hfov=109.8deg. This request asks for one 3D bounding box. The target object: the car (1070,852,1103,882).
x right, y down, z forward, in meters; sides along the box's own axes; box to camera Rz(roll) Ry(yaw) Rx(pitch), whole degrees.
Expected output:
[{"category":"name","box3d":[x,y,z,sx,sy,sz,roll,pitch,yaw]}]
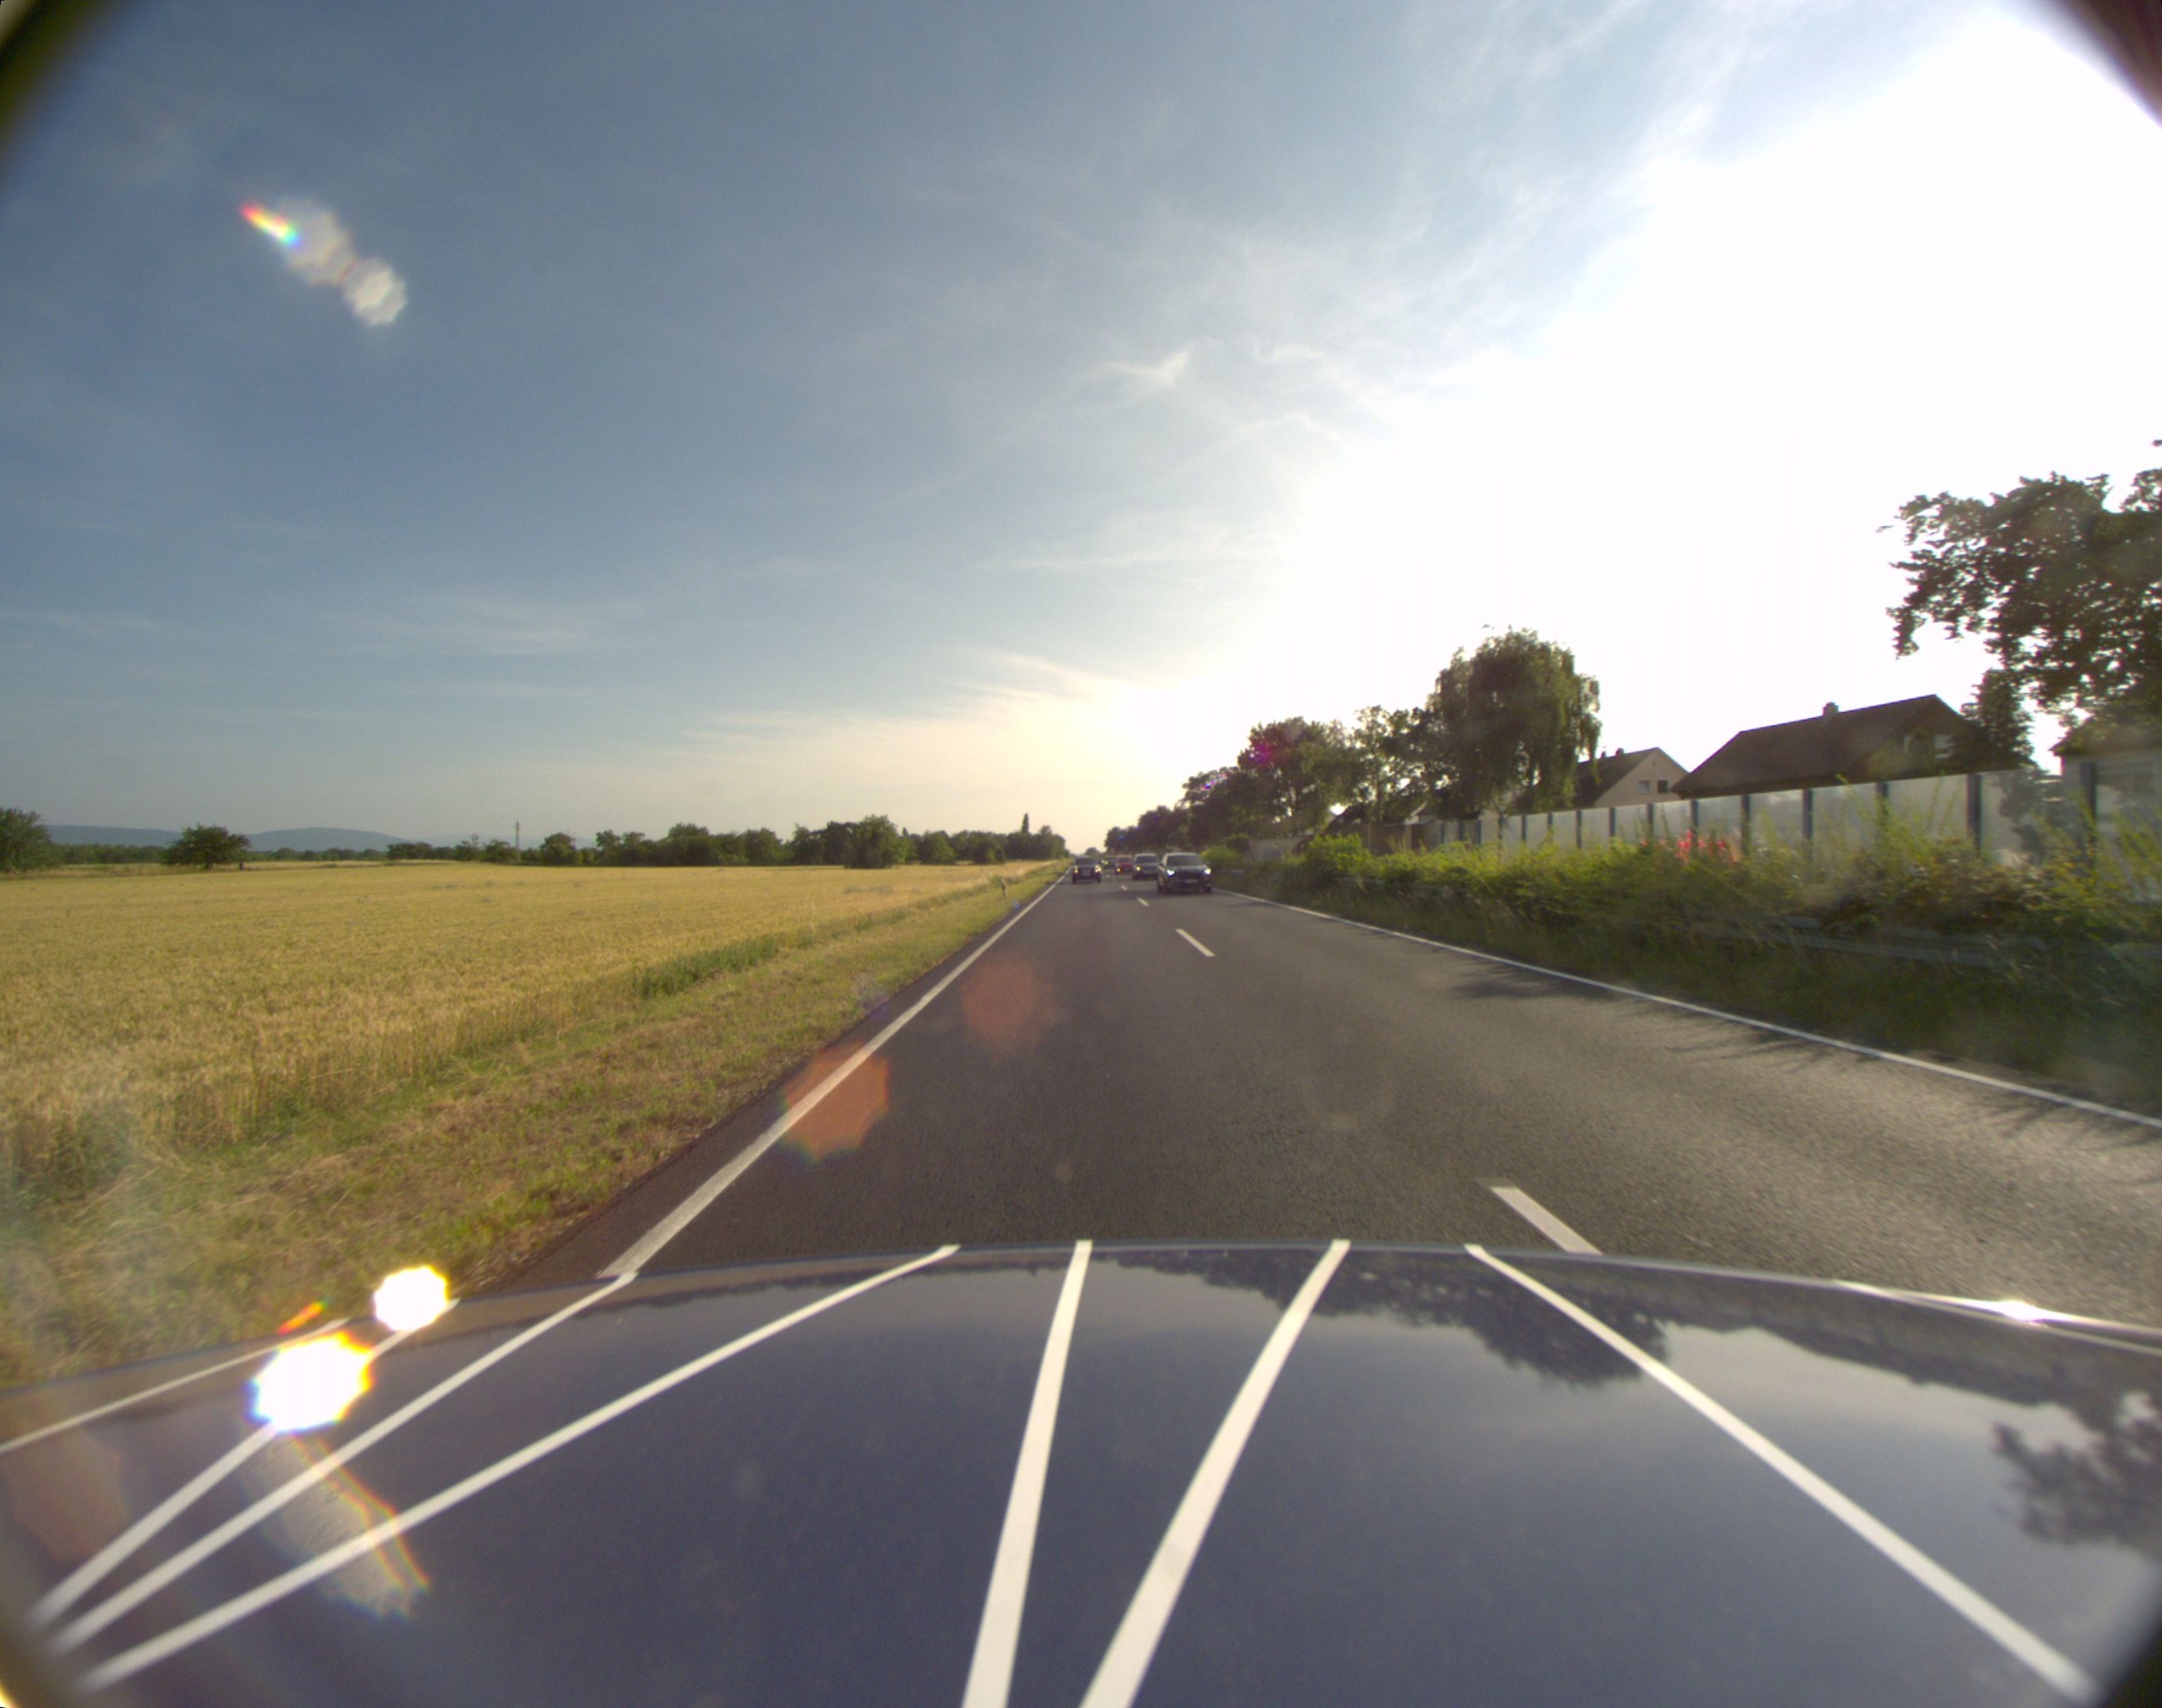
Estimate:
[{"category":"car","box3d":[0.322,0.735,46.435,1.822,1.661,3.999,-2,1,0]}]

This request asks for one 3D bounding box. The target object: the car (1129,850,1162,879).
[{"category":"car","box3d":[4.113,0.642,49.116,1.822,1.724,4.000,-2,1,1]}]

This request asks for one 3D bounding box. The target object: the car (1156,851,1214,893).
[{"category":"car","box3d":[4.179,0.672,31.129,1.822,1.516,4.246,-2,1,1]}]

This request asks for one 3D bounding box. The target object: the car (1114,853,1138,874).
[{"category":"car","box3d":[3.857,0.816,66.142,1.822,1.661,3.999,-2,1,0]}]

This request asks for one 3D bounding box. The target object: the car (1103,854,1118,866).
[{"category":"car","box3d":[3.782,0.751,98.375,1.700,1.456,3.646,-2,1,0]}]

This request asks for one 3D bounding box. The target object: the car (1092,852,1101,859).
[{"category":"car","box3d":[3.252,0.407,161.576,1.693,1.397,3.999,-2,1,0]}]
